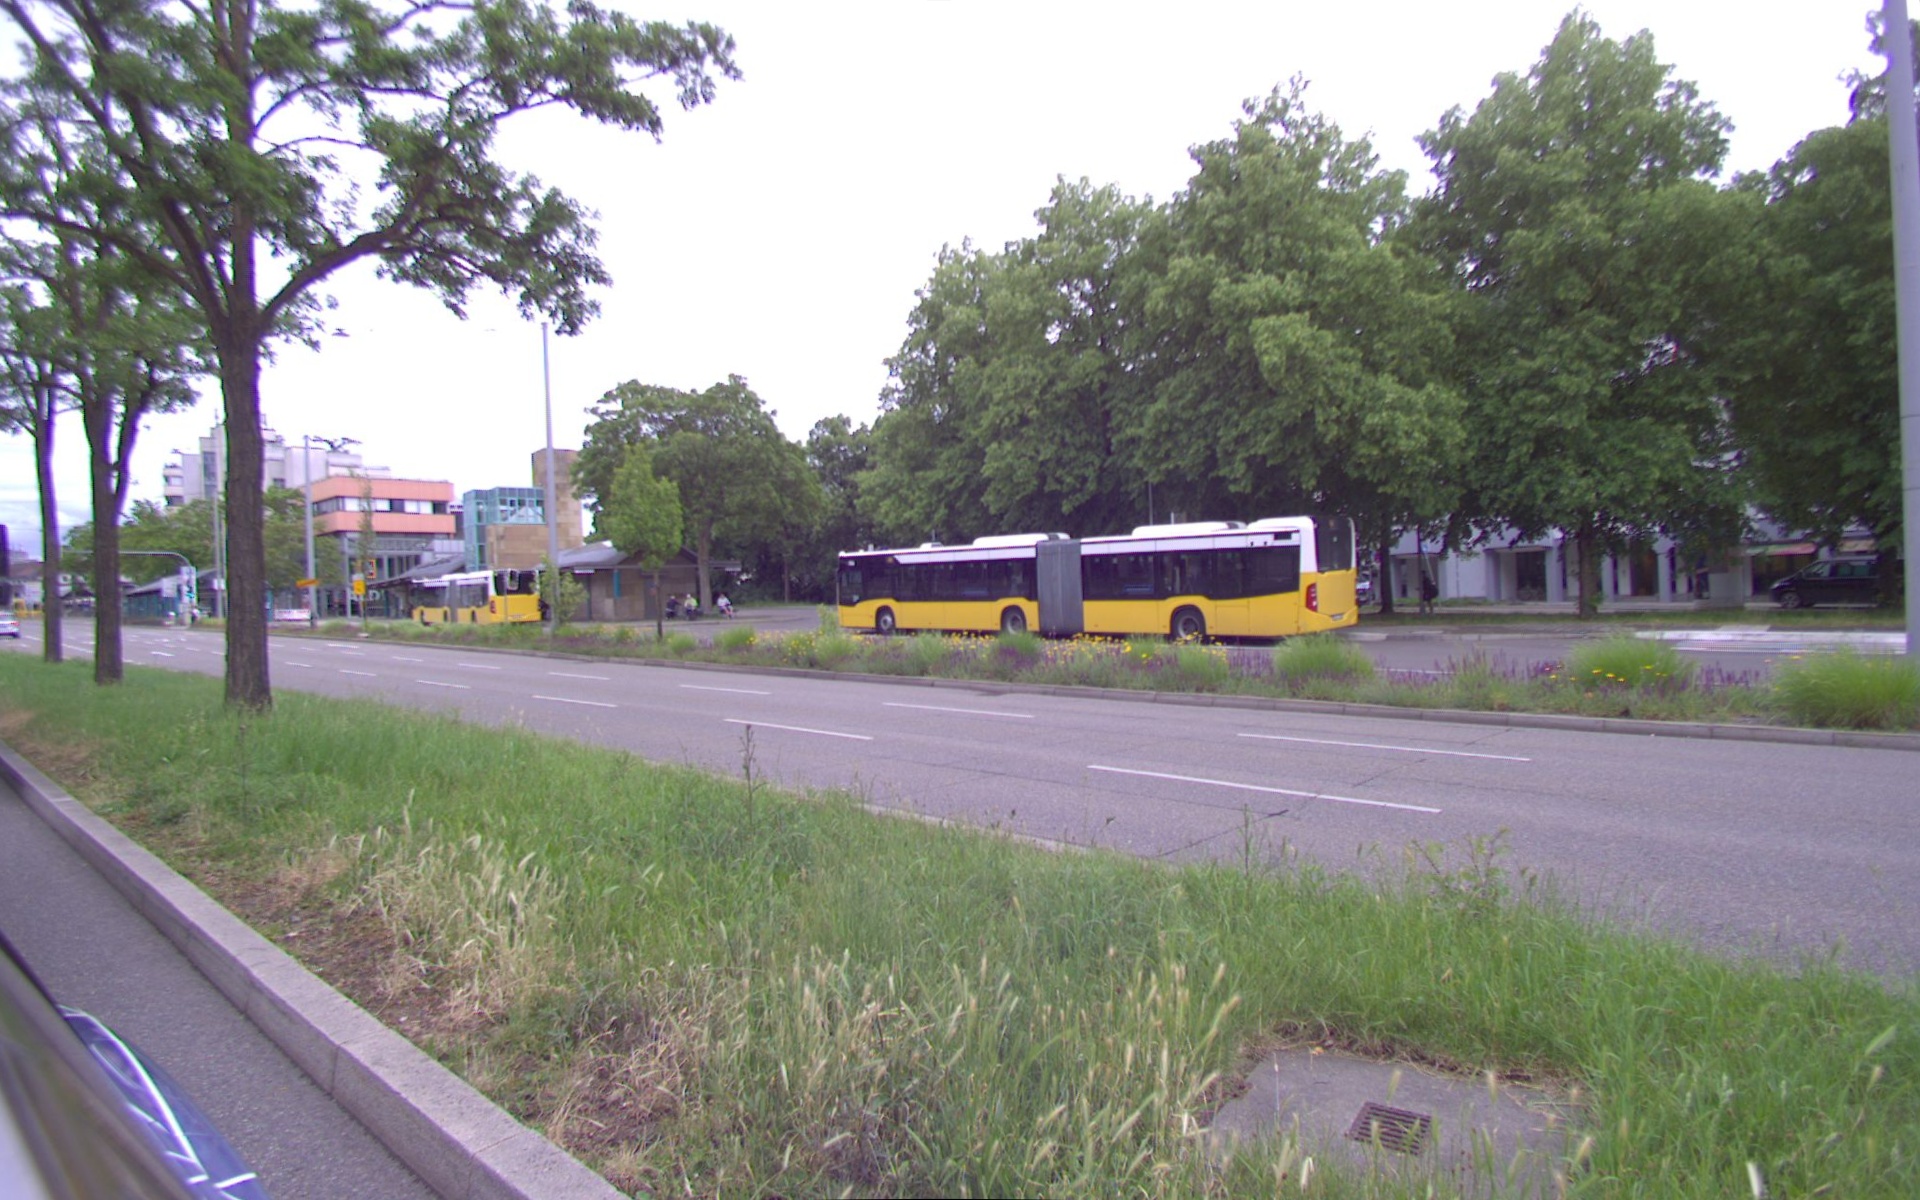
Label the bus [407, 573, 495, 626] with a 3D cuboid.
[{"bbox_3d":[-31.428,-0.007,62.257,2.846,3.025,9.191,-1,0,-40],"label":"bus"}]

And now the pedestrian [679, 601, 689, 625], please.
[{"bbox_3d":[-13.741,0.630,50.369,0.361,1.175,0.900,-1,0,-23],"label":"pedestrian"}]

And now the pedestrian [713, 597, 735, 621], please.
[{"bbox_3d":[-11.933,0.469,51.109,0.924,1.180,0.641,-1,0,41],"label":"pedestrian"}]

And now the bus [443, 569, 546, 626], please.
[{"bbox_3d":[-25.539,-0.072,55.180,2.846,2.830,9.191,-1,0,-39],"label":"bus"}]

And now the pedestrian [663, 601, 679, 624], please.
[{"bbox_3d":[-14.858,0.644,52.033,0.590,1.171,0.744,-1,0,-35],"label":"pedestrian"}]

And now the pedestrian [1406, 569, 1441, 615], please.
[{"bbox_3d":[16.258,-0.273,35.475,0.904,1.569,0.761,-2,0,41],"label":"pedestrian"}]

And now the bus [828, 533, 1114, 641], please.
[{"bbox_3d":[-0.023,-0.308,33.074,2.849,3.025,10.401,-1,0,-44],"label":"bus"}]

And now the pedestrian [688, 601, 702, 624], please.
[{"bbox_3d":[-13.216,0.623,50.482,0.589,1.171,0.745,-1,0,-23],"label":"pedestrian"}]

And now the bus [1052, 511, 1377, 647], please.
[{"bbox_3d":[6.356,-0.425,26.426,2.849,3.025,7.889,-1,0,-44],"label":"bus"}]

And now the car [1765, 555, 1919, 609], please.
[{"bbox_3d":[33.116,-0.634,37.791,1.758,1.861,4.429,-1,0,-35],"label":"car"}]

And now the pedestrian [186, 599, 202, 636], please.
[{"bbox_3d":[-58.524,1.314,77.320,0.889,2.809,1.150,-1,0,-36],"label":"pedestrian"}]

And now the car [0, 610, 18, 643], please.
[{"bbox_3d":[-60.002,1.661,63.014,4.000,2.029,1.703,-1,0,43],"label":"car"}]
